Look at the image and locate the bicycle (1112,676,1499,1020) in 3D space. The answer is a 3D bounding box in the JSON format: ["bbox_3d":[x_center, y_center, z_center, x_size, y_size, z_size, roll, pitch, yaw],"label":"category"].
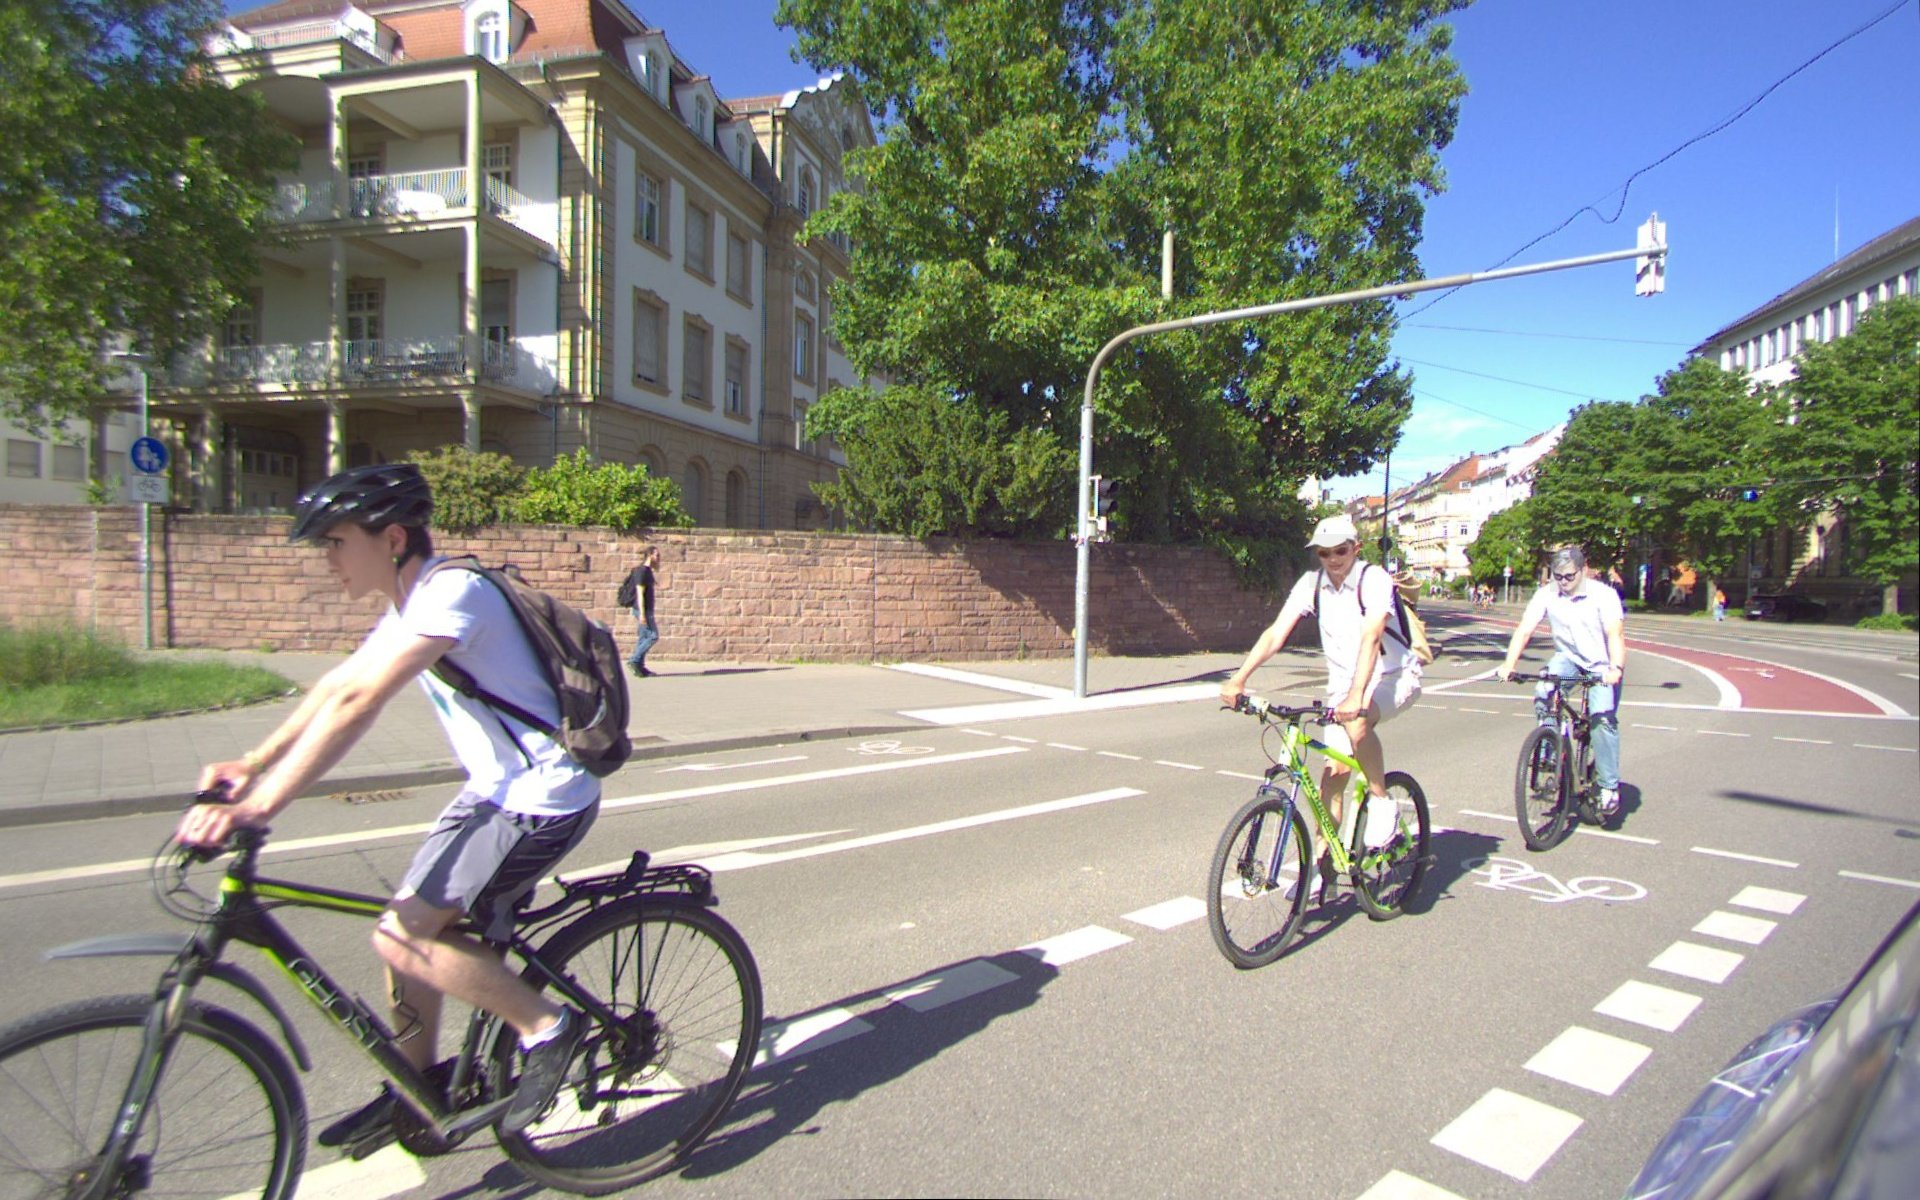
[{"bbox_3d":[1.523,0.906,4.292,1.856,1.061,0.664,1,-2,-39],"label":"bicycle"}]

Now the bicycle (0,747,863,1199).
[{"bbox_3d":[-1.176,0.944,2.207,1.850,0.972,0.724,0,1,-40],"label":"bicycle"}]

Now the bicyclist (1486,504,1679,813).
[{"bbox_3d":[4.003,0.329,6.505,0.996,1.798,0.751,0,1,-39],"label":"bicyclist"}]

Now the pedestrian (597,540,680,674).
[{"bbox_3d":[-4.617,0.083,14.518,1.028,1.855,0.762,1,2,-25],"label":"pedestrian"}]

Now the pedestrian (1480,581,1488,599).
[{"bbox_3d":[54.335,-1.024,104.882,0.571,1.879,0.681,1,1,15],"label":"pedestrian"}]

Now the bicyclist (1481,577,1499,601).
[{"bbox_3d":[35.291,-0.727,67.419,0.865,1.602,0.744,0,1,8],"label":"bicyclist"}]

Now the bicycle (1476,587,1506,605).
[{"bbox_3d":[35.361,-0.241,67.422,1.572,1.166,0.743,0,2,8],"label":"bicycle"}]

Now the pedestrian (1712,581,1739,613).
[{"bbox_3d":[42.974,-0.165,56.811,0.759,1.691,1.030,3,-2,10],"label":"pedestrian"}]

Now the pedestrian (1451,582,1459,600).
[{"bbox_3d":[55.081,-1.000,112.648,0.719,1.879,0.650,1,1,17],"label":"pedestrian"}]

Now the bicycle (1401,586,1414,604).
[{"bbox_3d":[31.298,-0.353,70.852,0.657,1.166,1.663,0,2,18],"label":"bicycle"}]

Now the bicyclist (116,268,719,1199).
[{"bbox_3d":[-1.166,0.293,2.209,1.036,1.646,0.723,0,0,-40],"label":"bicyclist"}]

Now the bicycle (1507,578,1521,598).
[{"bbox_3d":[55.064,-1.206,100.517,0.996,1.910,3.851,0,2,32],"label":"bicycle"}]

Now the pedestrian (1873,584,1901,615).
[{"bbox_3d":[48.139,-0.035,52.545,0.662,1.586,0.856,-3,1,11],"label":"pedestrian"}]

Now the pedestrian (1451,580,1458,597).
[{"bbox_3d":[55.056,-1.327,112.615,0.571,1.879,0.681,1,1,15],"label":"pedestrian"}]

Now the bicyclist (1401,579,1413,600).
[{"bbox_3d":[31.310,-0.718,70.895,0.657,1.479,0.619,0,2,19],"label":"bicyclist"}]

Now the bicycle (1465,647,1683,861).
[{"bbox_3d":[3.954,0.898,6.460,1.797,1.090,0.612,-1,1,-39],"label":"bicycle"}]

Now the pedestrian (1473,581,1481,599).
[{"bbox_3d":[53.691,-1.022,105.025,0.571,1.879,0.681,1,1,15],"label":"pedestrian"}]

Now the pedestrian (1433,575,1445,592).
[{"bbox_3d":[52.526,-1.806,111.029,0.913,1.760,0.679,1,1,-4],"label":"pedestrian"}]

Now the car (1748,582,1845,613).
[{"bbox_3d":[45.516,-0.123,55.099,4.024,1.593,1.925,1,1,-12],"label":"car"}]

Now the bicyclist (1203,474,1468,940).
[{"bbox_3d":[1.646,0.409,4.424,0.987,1.770,0.665,1,-2,-39],"label":"bicyclist"}]
